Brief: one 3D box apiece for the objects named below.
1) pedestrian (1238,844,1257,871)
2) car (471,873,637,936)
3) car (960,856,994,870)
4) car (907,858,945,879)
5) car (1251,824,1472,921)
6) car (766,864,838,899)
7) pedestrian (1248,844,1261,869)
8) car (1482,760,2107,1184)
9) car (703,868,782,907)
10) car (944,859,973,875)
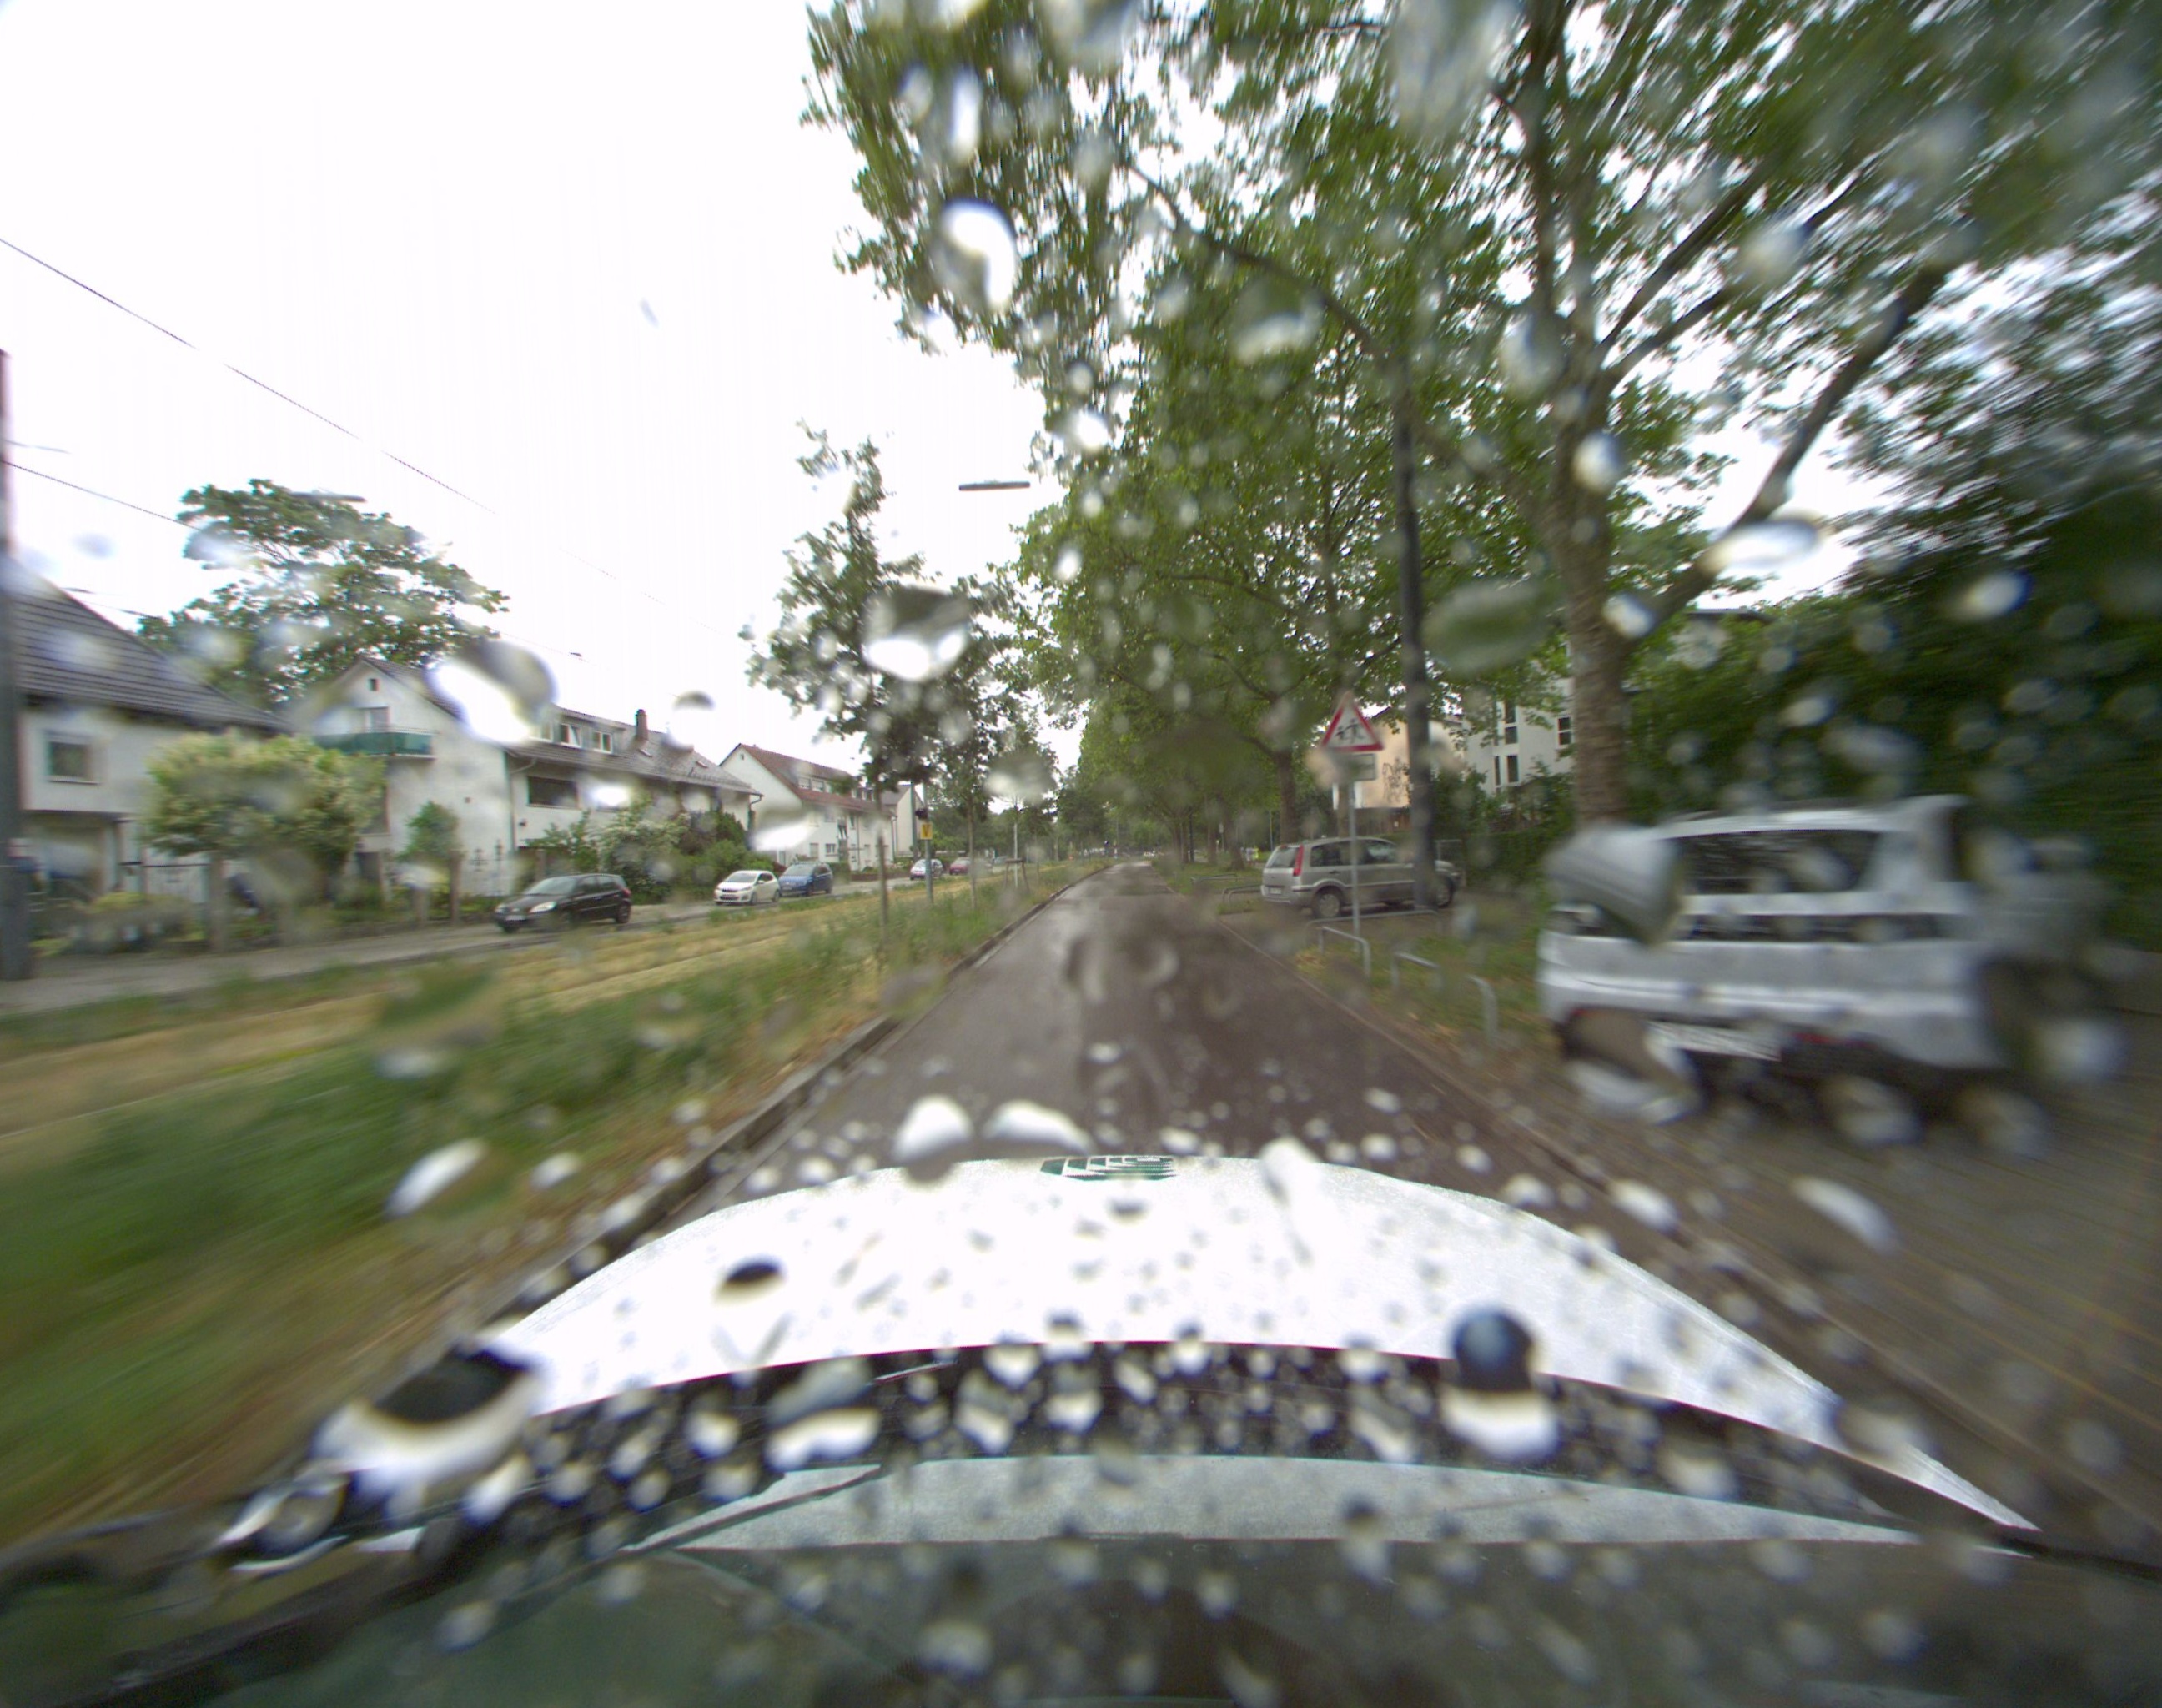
[{"bbox_3d":[9.949,0.207,48.713,0.831,1.538,0.859,-4,0,-2],"label":"pedestrian"},{"bbox_3d":[-15.371,1.419,24.074,1.985,1.516,4.209,-1,1,3],"label":"car"},{"bbox_3d":[-13.643,1.214,106.983,3.973,1.616,2.000,-3,0,1],"label":"car"},{"bbox_3d":[-12.559,1.142,66.215,1.985,1.581,4.521,-1,1,3],"label":"car"},{"bbox_3d":[5.564,0.333,16.298,3.859,1.566,1.612,-4,0,-13],"label":"car"},{"bbox_3d":[-14.435,1.375,42.361,1.985,1.614,4.417,-1,1,3],"label":"car"},{"bbox_3d":[10.874,0.177,51.023,0.555,1.538,0.966,-3,0,-2],"label":"pedestrian"},{"bbox_3d":[4.936,0.367,5.389,4.796,1.668,1.973,-4,0,-35],"label":"car"},{"bbox_3d":[-14.768,1.427,35.764,1.788,1.488,3.600,-1,1,3],"label":"car"},{"bbox_3d":[-11.999,1.269,80.156,1.985,1.488,4.209,-1,1,3],"label":"car"}]
